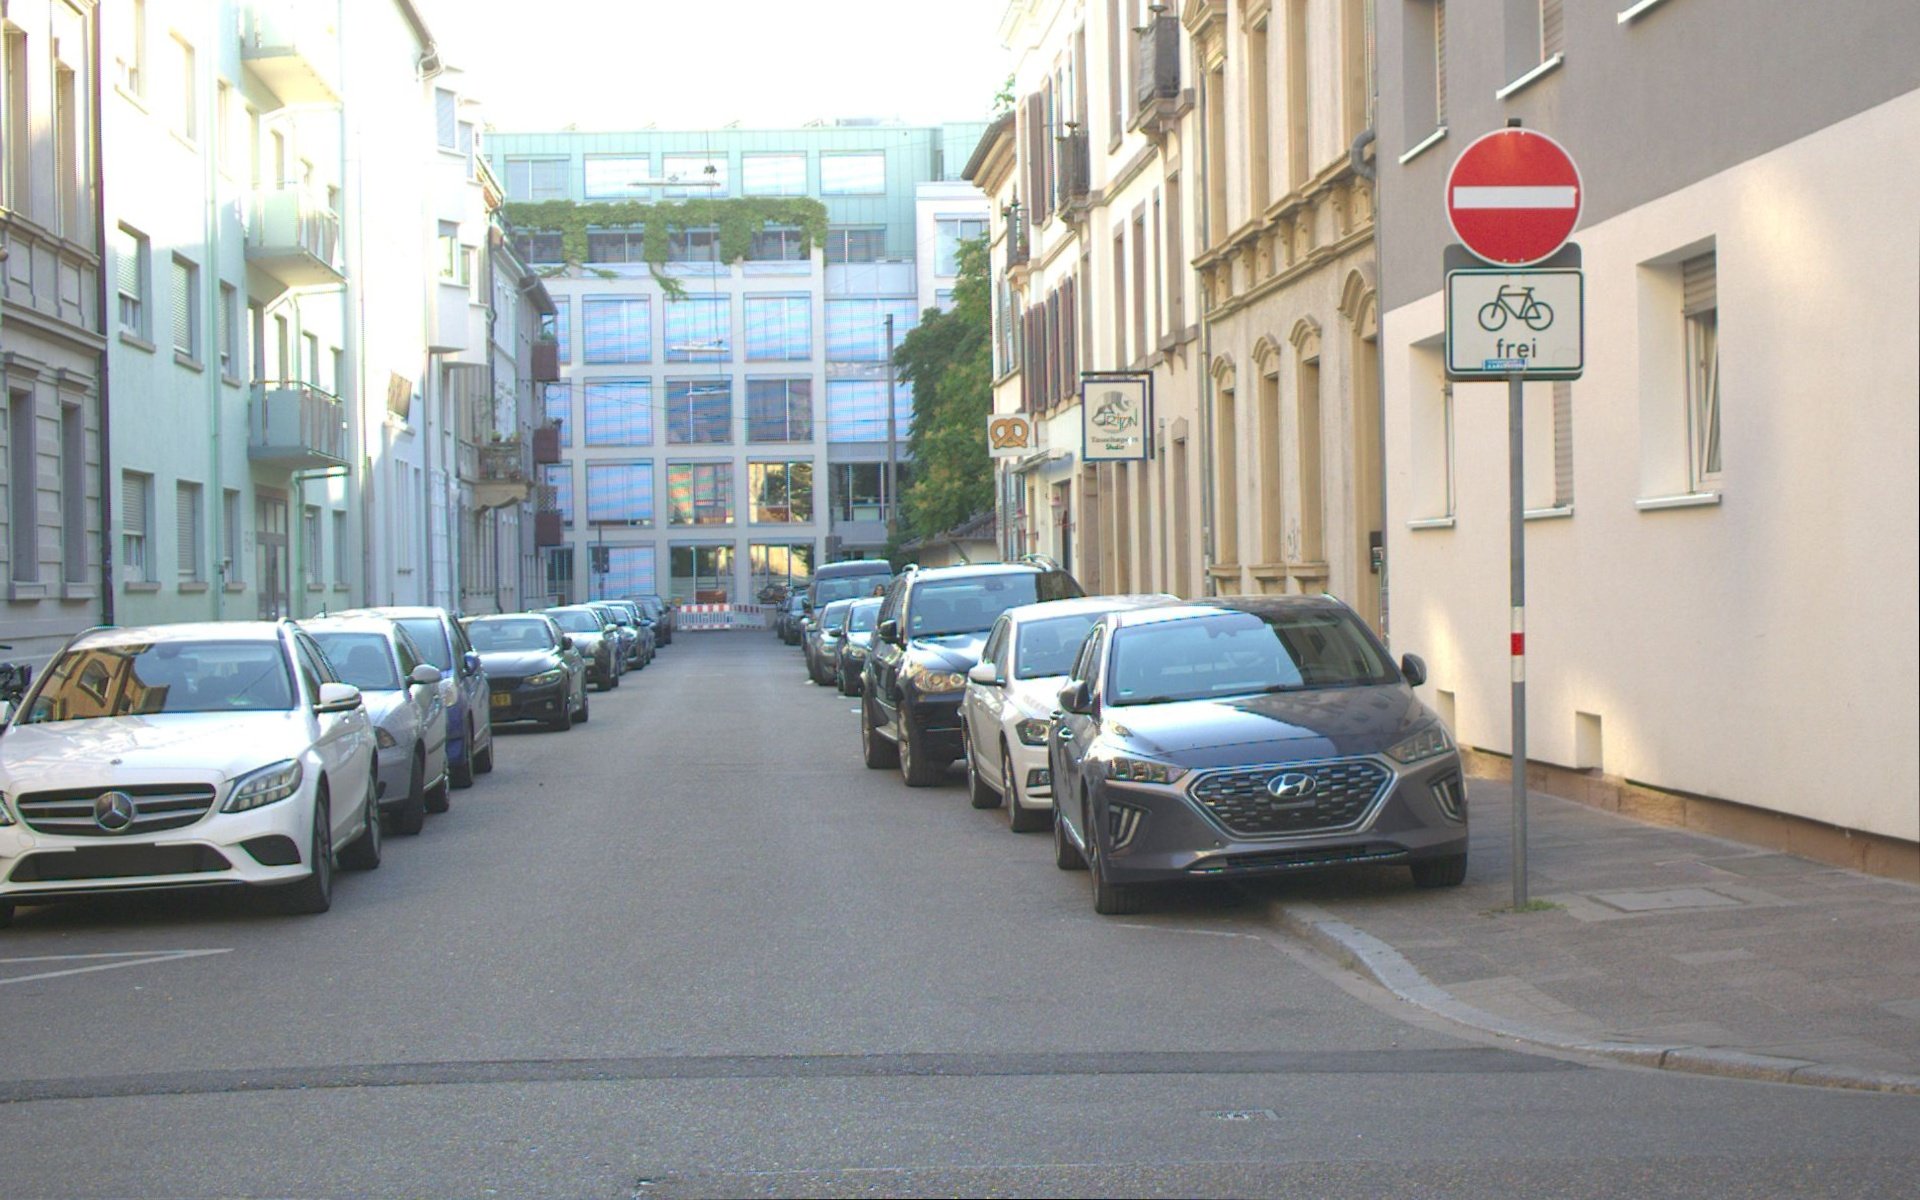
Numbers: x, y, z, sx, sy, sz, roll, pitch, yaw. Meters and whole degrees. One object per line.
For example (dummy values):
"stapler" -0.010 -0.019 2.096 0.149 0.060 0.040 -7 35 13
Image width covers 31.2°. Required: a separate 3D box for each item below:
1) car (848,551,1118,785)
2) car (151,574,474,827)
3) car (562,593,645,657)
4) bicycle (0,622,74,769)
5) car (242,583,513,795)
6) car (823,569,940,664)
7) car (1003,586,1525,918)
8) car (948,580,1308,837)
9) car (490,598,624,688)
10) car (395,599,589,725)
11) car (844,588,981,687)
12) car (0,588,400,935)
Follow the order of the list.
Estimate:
"car" 0.120 0.509 28.707 1.893 1.778 4.001 -1 1 -4
"car" -4.372 0.621 23.700 1.624 1.571 3.754 -1 1 -2
"car" -7.831 0.531 75.726 1.707 1.298 4.001 -1 1 -5
"bicycle" -8.150 0.792 29.238 0.737 1.157 2.462 -1 1 -4
"car" -4.909 0.702 29.421 1.785 1.653 3.817 -1 1 -2
"car" -1.506 0.282 64.496 1.993 1.694 4.001 -1 1 -4
"car" 1.390 0.669 17.269 1.938 1.367 3.789 -3 1 -5
"car" 1.044 0.660 23.331 1.963 1.552 3.889 -1 1 -4
"car" -6.846 0.714 58.653 2.172 1.413 4.001 -1 1 -6
"car" -5.530 0.700 41.120 1.993 1.350 4.429 -1 1 -4
"car" -0.782 0.563 53.832 1.993 1.446 4.000 -1 1 -3
"car" -4.157 0.749 18.293 1.993 1.559 4.507 -1 1 -5
